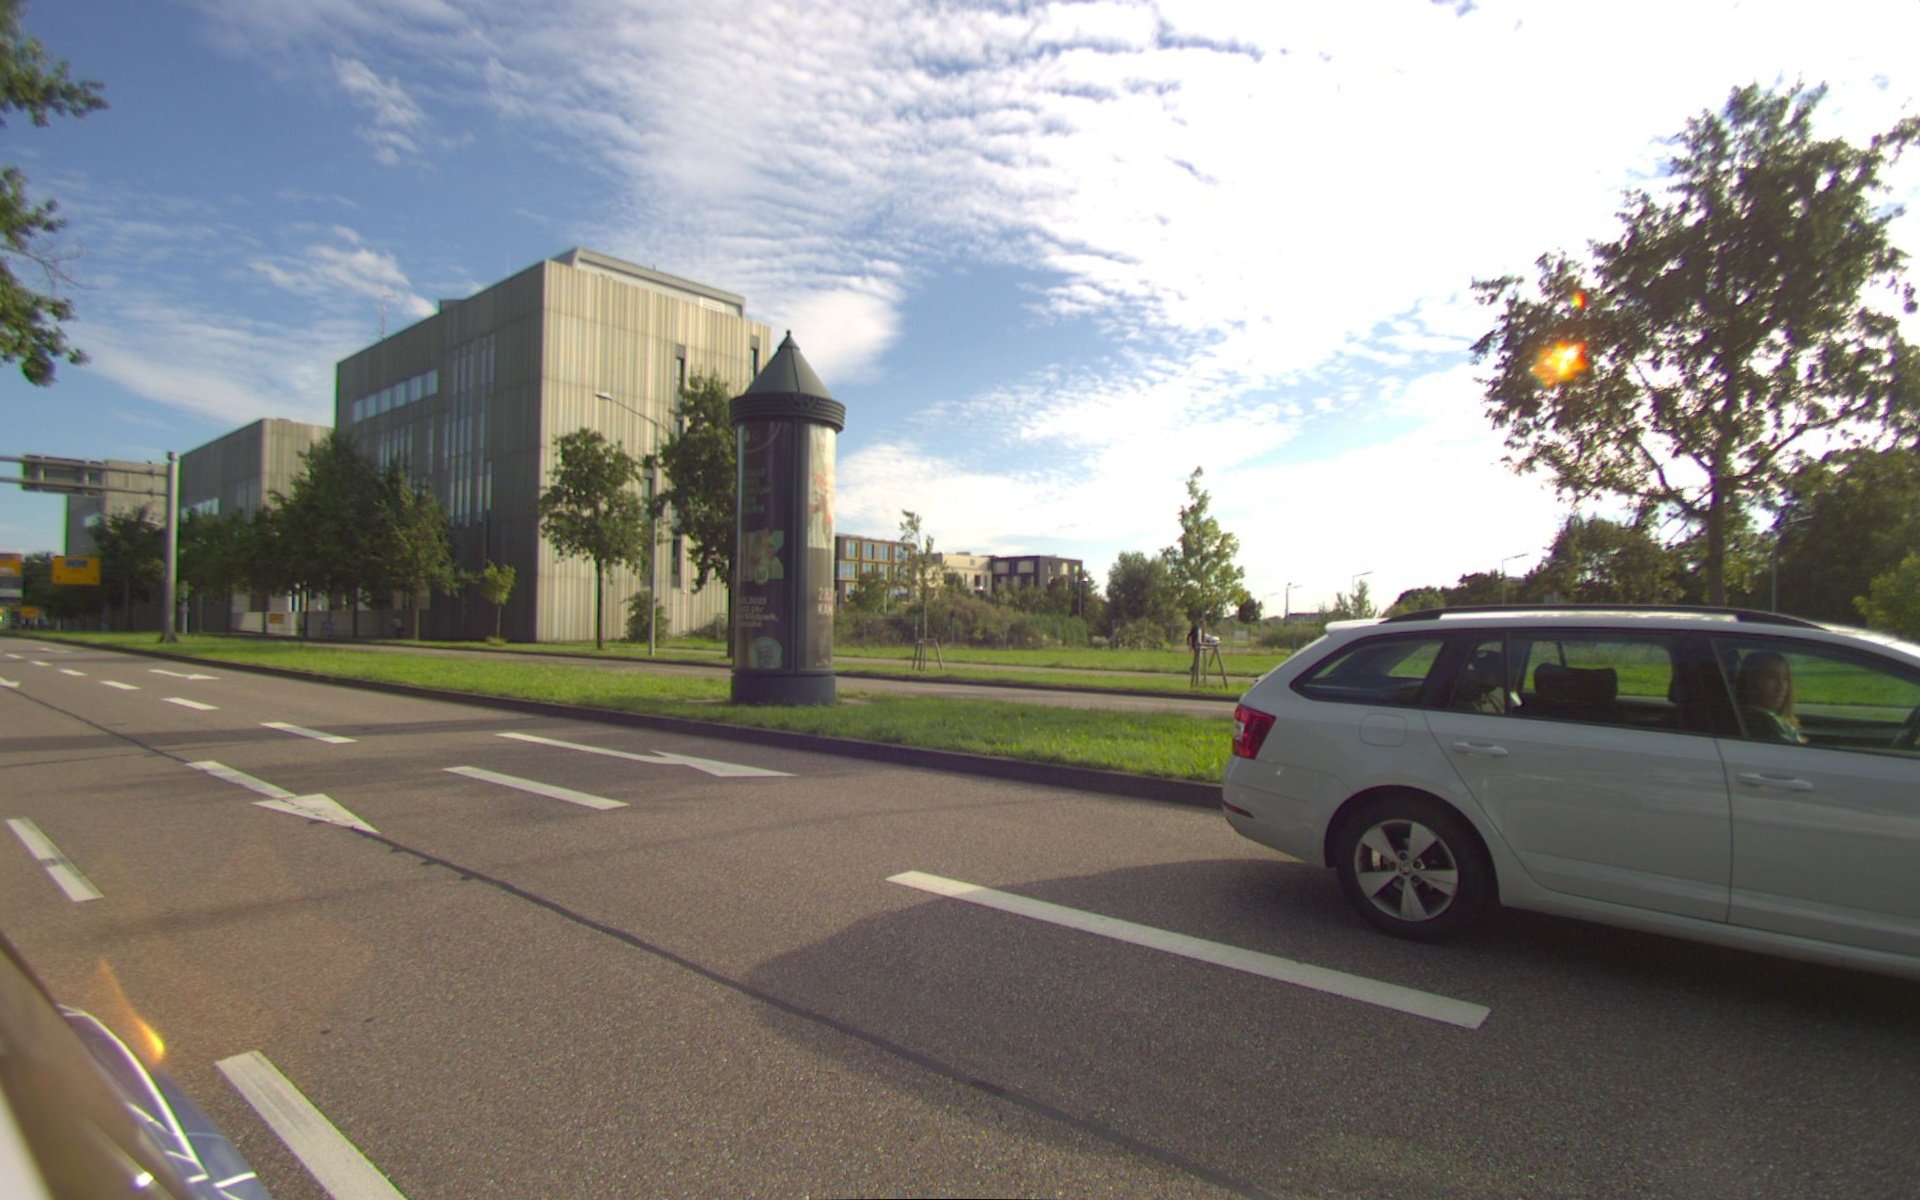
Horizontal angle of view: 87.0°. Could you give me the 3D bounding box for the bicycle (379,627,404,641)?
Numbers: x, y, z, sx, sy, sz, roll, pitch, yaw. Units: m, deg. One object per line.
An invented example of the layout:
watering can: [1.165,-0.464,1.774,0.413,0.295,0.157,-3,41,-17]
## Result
bicycle: [-39.736,2.372,70.709,1.910,0.989,0.885,-1,-3,41]

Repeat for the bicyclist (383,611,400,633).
bicyclist: [-39.723,1.543,70.711,0.989,1.537,0.698,-1,-3,41]

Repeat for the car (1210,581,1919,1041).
car: [3.466,0.705,4.175,4.479,1.510,1.681,-1,-1,41]

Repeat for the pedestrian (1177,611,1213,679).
pedestrian: [7.228,1.375,31.122,0.867,2.029,0.667,-1,-3,41]
